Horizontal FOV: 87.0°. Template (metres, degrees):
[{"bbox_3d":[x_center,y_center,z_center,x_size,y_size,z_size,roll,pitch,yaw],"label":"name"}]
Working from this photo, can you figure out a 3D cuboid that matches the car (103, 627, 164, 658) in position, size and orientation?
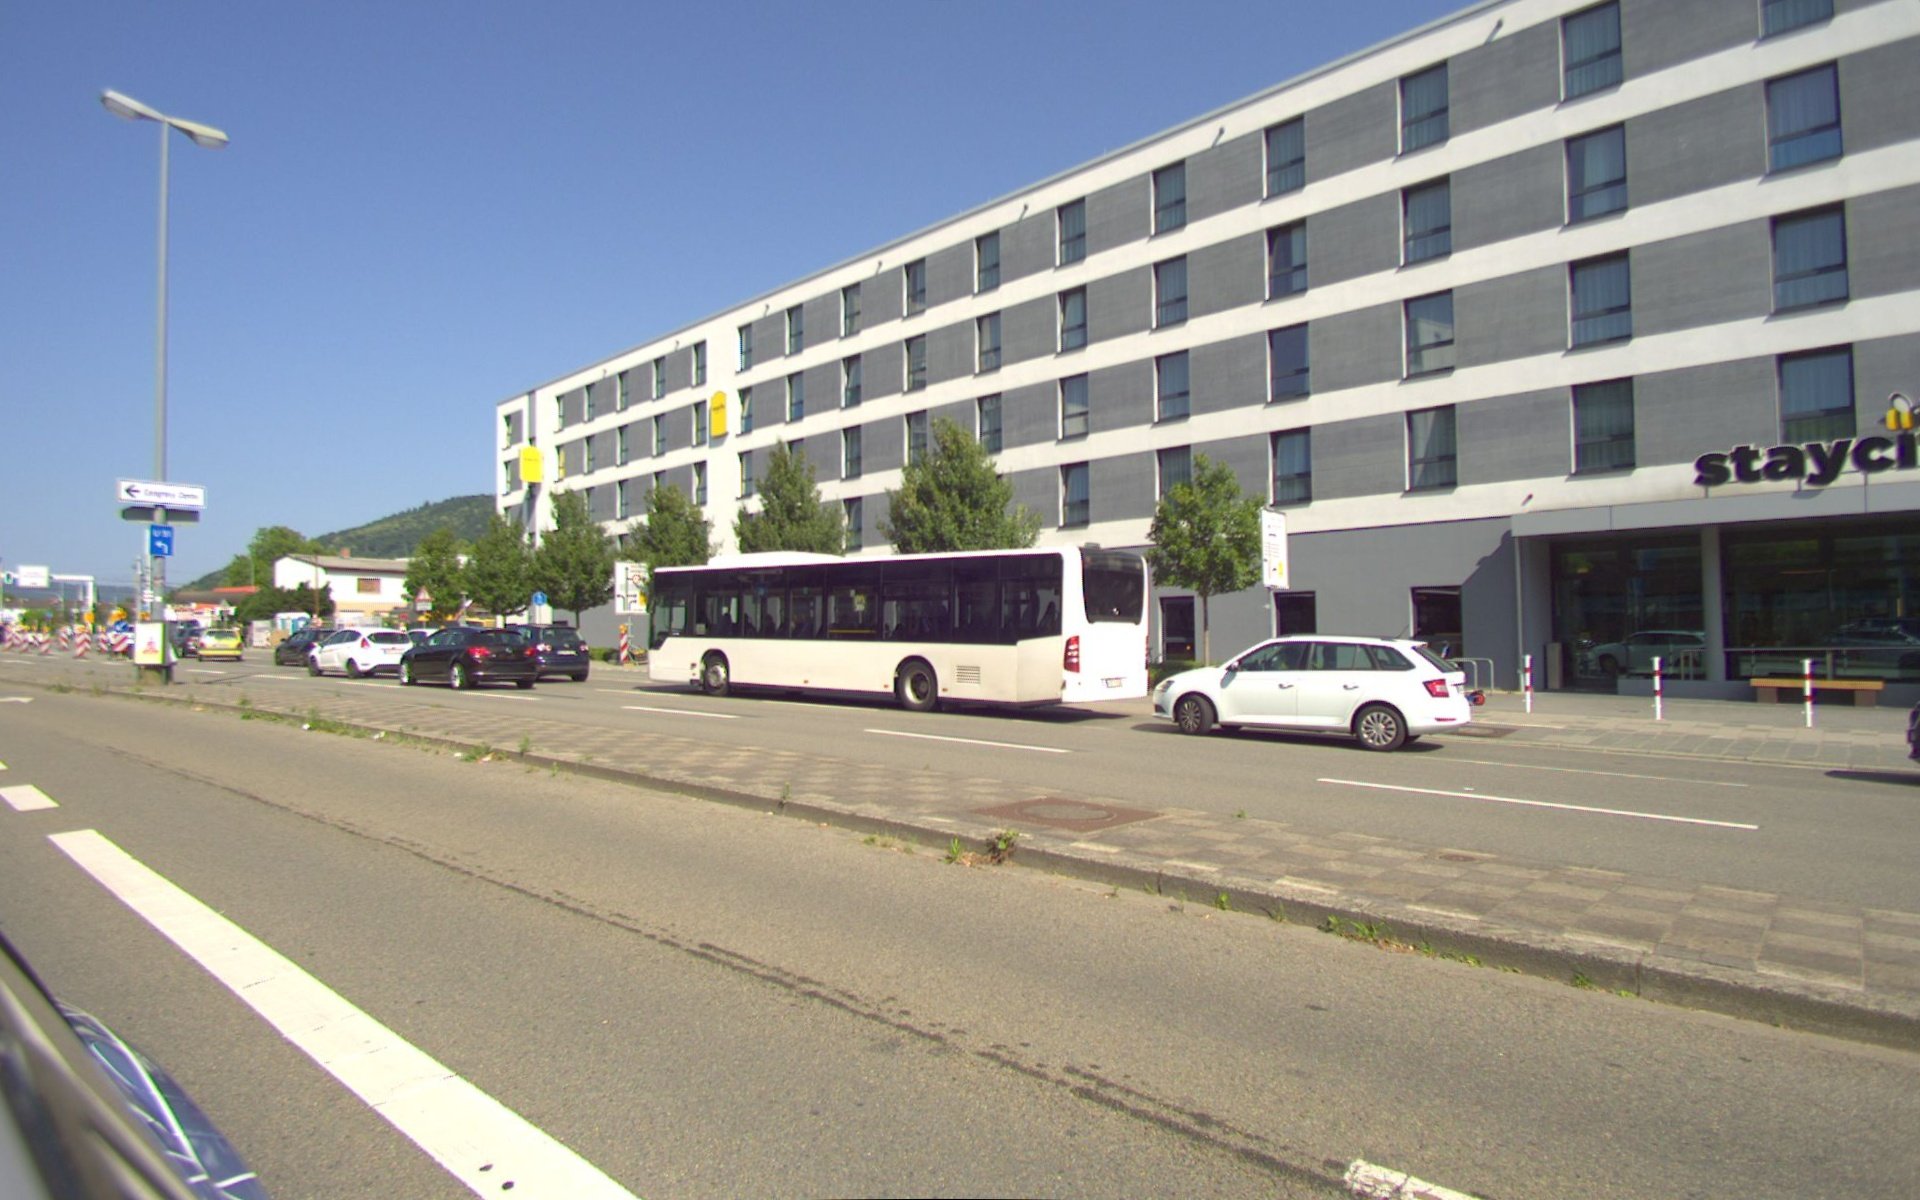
[{"bbox_3d":[-48.937,2.492,59.897,4.888,1.725,1.973,-1,-2,41],"label":"car"}]

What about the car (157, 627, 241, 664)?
[{"bbox_3d":[-33.498,1.973,44.518,4.888,1.534,1.973,-1,-2,41],"label":"car"}]

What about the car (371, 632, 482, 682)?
[{"bbox_3d":[-17.405,1.832,32.949,3.975,1.550,1.834,-2,-4,41],"label":"car"}]

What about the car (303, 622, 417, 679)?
[{"bbox_3d":[-17.300,1.401,29.109,3.999,1.462,1.740,-1,0,42],"label":"car"}]

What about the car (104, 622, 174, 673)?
[{"bbox_3d":[-35.480,2.017,43.720,4.162,2.029,1.658,-1,0,41],"label":"car"}]

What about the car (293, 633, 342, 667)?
[{"bbox_3d":[-24.921,1.918,39.257,2.219,1.216,1.044,-1,0,42],"label":"car"}]

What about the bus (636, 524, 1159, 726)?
[{"bbox_3d":[-1.974,0.541,20.433,11.966,3.102,2.710,-1,-4,40],"label":"bus"}]

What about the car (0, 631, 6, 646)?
[{"bbox_3d":[-86.751,3.435,90.273,3.932,1.346,1.794,-1,-2,37],"label":"car"}]

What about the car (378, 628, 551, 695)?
[{"bbox_3d":[-12.057,1.412,24.477,4.887,1.443,1.973,-1,-2,40],"label":"car"}]

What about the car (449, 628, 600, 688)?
[{"bbox_3d":[-12.310,1.563,28.455,4.888,1.534,1.973,-1,-2,41],"label":"car"}]

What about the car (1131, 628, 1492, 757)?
[{"bbox_3d":[4.840,1.205,14.163,4.403,1.497,1.976,-1,-4,36],"label":"car"}]

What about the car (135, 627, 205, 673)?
[{"bbox_3d":[-38.213,2.378,48.911,3.998,2.029,1.973,-1,0,41],"label":"car"}]

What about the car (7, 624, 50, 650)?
[{"bbox_3d":[-73.766,2.911,80.105,3.996,2.029,1.973,-1,-3,40],"label":"car"}]
